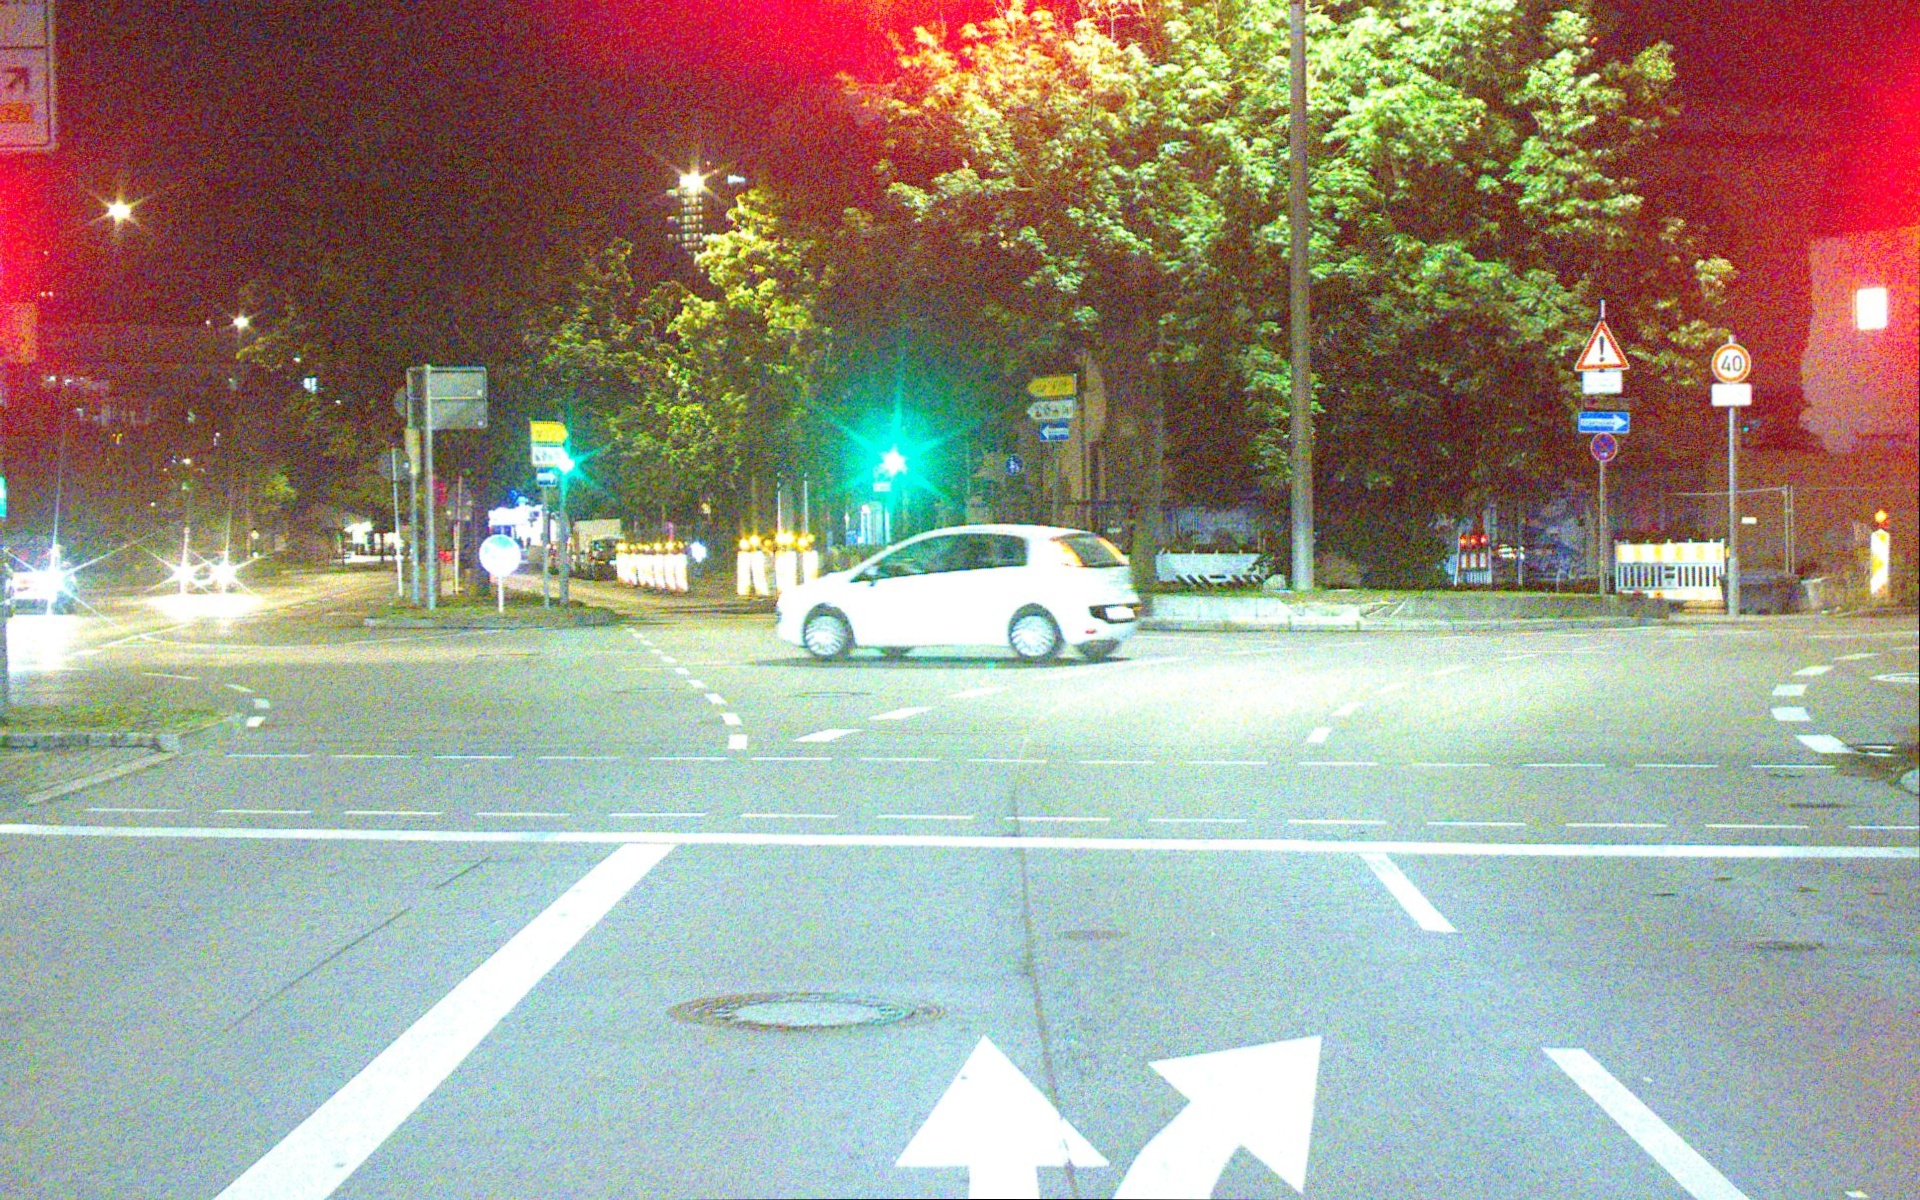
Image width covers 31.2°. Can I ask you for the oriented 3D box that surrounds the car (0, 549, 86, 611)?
[{"bbox_3d":[-20.133,-0.435,74.727,1.757,1.317,3.548,-1,0,-7],"label":"car"}]

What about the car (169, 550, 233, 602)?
[{"bbox_3d":[-25.819,-0.812,117.045,1.757,1.722,3.548,-1,0,-7],"label":"car"}]

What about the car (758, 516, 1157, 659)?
[{"bbox_3d":[-0.037,-0.129,37.408,3.993,1.486,1.706,0,1,28],"label":"car"}]

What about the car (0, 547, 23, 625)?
[{"bbox_3d":[-19.461,-0.276,67.188,1.615,1.509,4.001,-1,0,-6],"label":"car"}]
